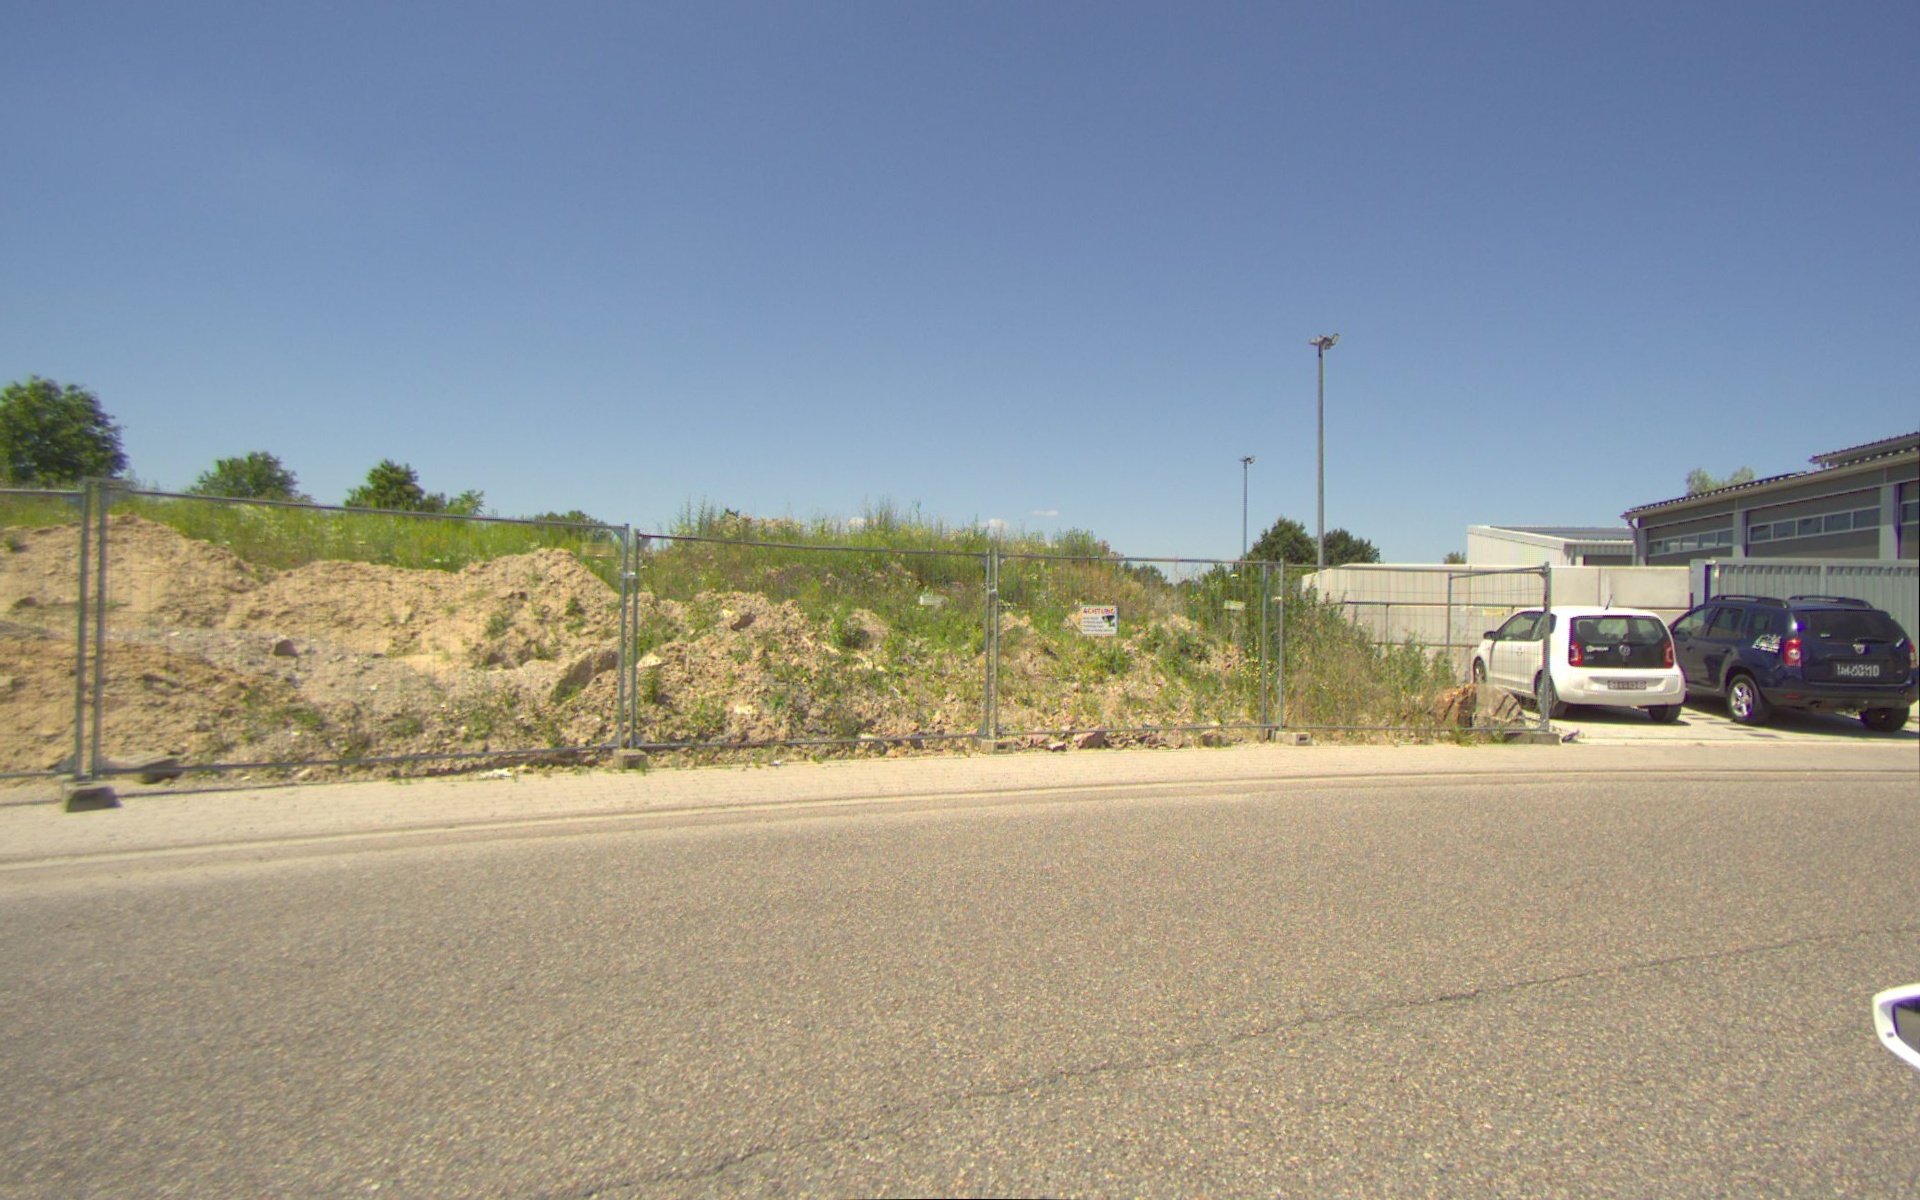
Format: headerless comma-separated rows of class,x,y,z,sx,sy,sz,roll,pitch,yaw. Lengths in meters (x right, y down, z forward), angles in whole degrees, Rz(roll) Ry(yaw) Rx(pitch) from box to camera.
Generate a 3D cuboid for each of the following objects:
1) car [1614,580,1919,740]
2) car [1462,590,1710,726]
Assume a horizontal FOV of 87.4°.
car,11.259,0.681,14.241,1.745,1.682,4.177,2,4,10
car,8.785,0.715,14.461,1.745,1.482,3.372,2,4,8
